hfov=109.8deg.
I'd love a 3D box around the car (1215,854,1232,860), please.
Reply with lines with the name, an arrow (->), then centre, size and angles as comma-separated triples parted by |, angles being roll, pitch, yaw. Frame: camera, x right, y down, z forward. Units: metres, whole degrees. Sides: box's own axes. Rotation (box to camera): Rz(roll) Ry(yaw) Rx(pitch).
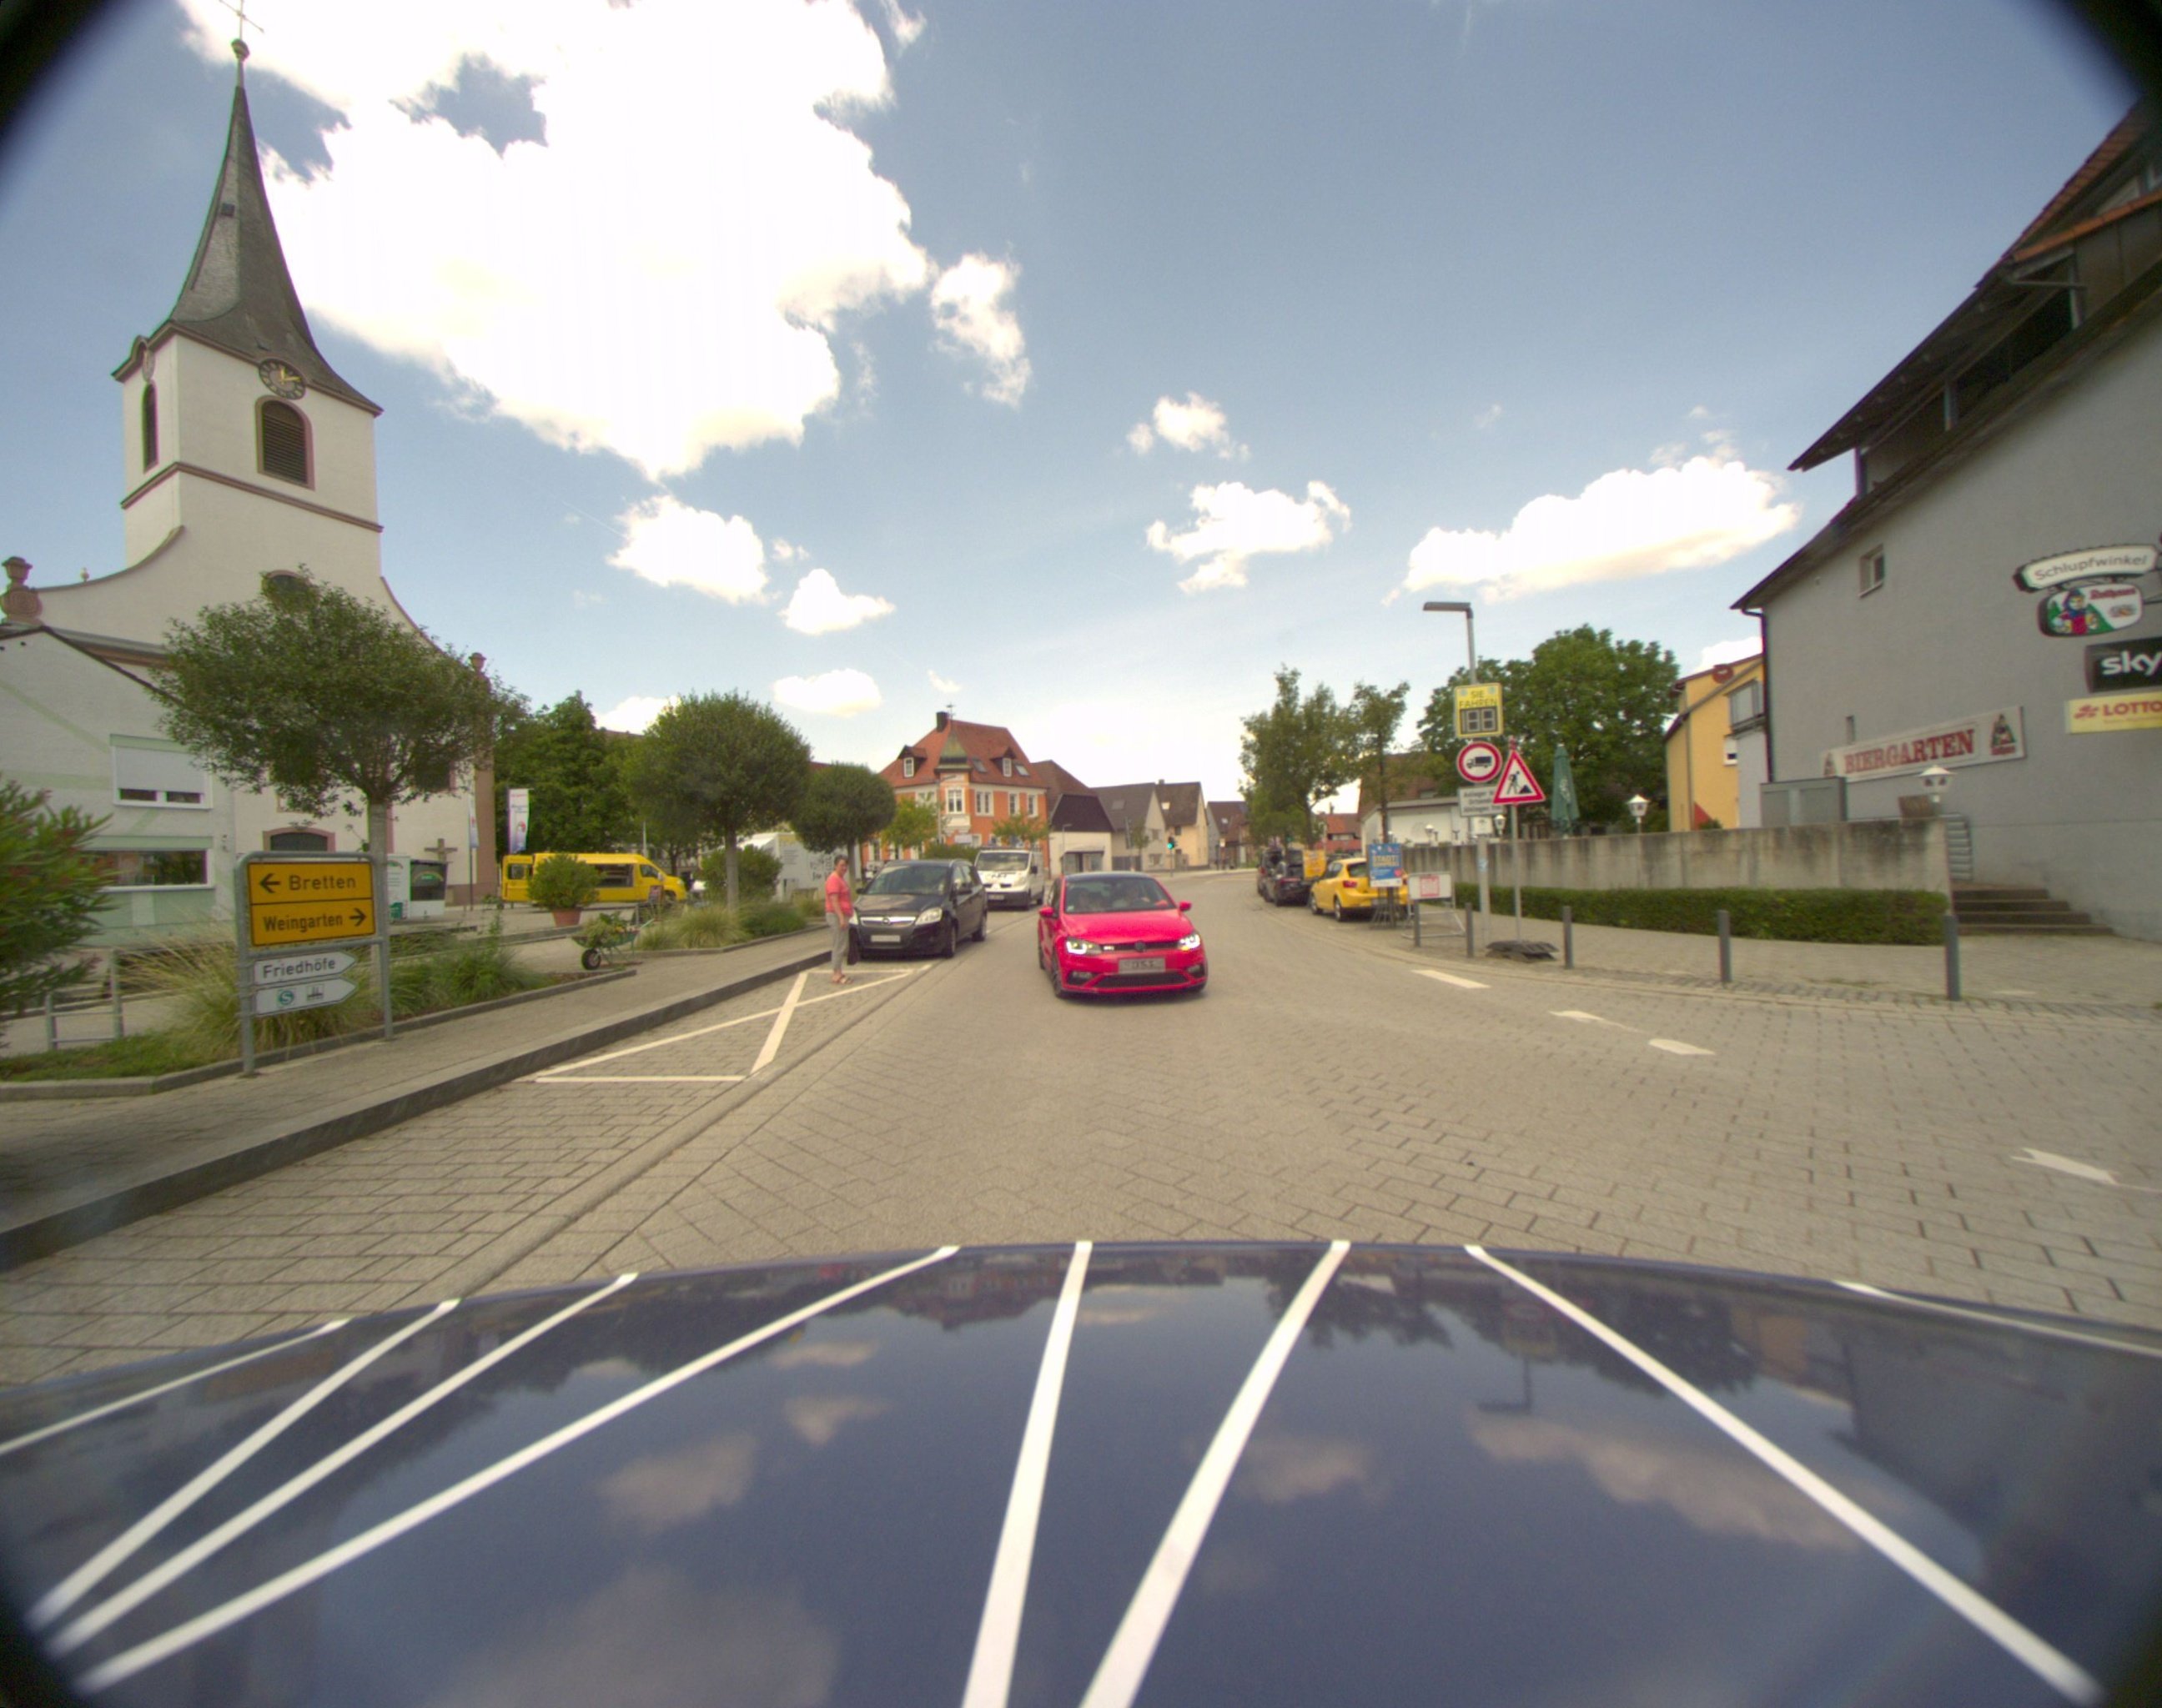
car -> 25.784, 0.618, 137.913 | 1.803, 1.053, 3.997 | -2, 0, -9

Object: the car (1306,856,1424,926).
car -> 6.684, 0.797, 18.305 | 1.671, 1.466, 3.965 | -2, 0, 6

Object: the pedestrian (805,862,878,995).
pedestrian -> -3.022, 0.923, 9.640 | 0.640, 1.619, 0.620 | -2, 0, 6

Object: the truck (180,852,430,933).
truck -> -26.557, 1.289, 26.081 | 6.812, 2.483, 2.961 | -2, 0, 15

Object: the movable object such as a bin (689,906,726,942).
movable object such as a bin -> -7.964, 1.487, 16.227 | 0.566, 0.728, 0.391 | -2, 0, 6

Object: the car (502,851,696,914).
car -> -21.498, 1.176, 34.128 | 6.978, 2.462, 2.647 | -2, 0, -40

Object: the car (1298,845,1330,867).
car -> 22.126, 0.186, 72.084 | 1.660, 2.002, 4.008 | -2, 0, 36

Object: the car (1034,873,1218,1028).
car -> 0.348, 1.028, 9.676 | 1.783, 1.403, 3.886 | -2, 0, -4

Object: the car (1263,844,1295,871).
car -> 16.683, 0.250, 63.825 | 1.889, 2.173, 5.038 | -2, 0, 23

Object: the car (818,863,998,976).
car -> -2.779, 0.979, 13.302 | 1.772, 1.555, 4.420 | 1, 0, 5

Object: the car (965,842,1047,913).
car -> -2.391, 0.712, 25.560 | 1.947, 2.164, 5.102 | 0, 0, 4

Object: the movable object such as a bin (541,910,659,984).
movable object such as a bin -> -6.879, 1.308, 10.951 | 0.736, 0.861, 1.436 | -2, 0, 0

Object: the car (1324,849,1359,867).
car -> 23.566, 0.310, 68.612 | 1.733, 1.482, 4.509 | -1, 1, 35

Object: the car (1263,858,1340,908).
car -> 7.071, 0.884, 24.792 | 1.819, 1.415, 4.540 | -2, 0, 9

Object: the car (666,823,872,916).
car -> -11.037, 0.454, 27.808 | 2.755, 2.946, 7.123 | -1, 1, 21

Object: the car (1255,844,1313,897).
car -> 8.446, 0.639, 31.967 | 1.989, 1.978, 5.049 | -2, 0, 12

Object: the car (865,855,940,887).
car -> -12.230, 1.141, 52.419 | 1.995, 2.002, 5.504 | -2, 0, 25
